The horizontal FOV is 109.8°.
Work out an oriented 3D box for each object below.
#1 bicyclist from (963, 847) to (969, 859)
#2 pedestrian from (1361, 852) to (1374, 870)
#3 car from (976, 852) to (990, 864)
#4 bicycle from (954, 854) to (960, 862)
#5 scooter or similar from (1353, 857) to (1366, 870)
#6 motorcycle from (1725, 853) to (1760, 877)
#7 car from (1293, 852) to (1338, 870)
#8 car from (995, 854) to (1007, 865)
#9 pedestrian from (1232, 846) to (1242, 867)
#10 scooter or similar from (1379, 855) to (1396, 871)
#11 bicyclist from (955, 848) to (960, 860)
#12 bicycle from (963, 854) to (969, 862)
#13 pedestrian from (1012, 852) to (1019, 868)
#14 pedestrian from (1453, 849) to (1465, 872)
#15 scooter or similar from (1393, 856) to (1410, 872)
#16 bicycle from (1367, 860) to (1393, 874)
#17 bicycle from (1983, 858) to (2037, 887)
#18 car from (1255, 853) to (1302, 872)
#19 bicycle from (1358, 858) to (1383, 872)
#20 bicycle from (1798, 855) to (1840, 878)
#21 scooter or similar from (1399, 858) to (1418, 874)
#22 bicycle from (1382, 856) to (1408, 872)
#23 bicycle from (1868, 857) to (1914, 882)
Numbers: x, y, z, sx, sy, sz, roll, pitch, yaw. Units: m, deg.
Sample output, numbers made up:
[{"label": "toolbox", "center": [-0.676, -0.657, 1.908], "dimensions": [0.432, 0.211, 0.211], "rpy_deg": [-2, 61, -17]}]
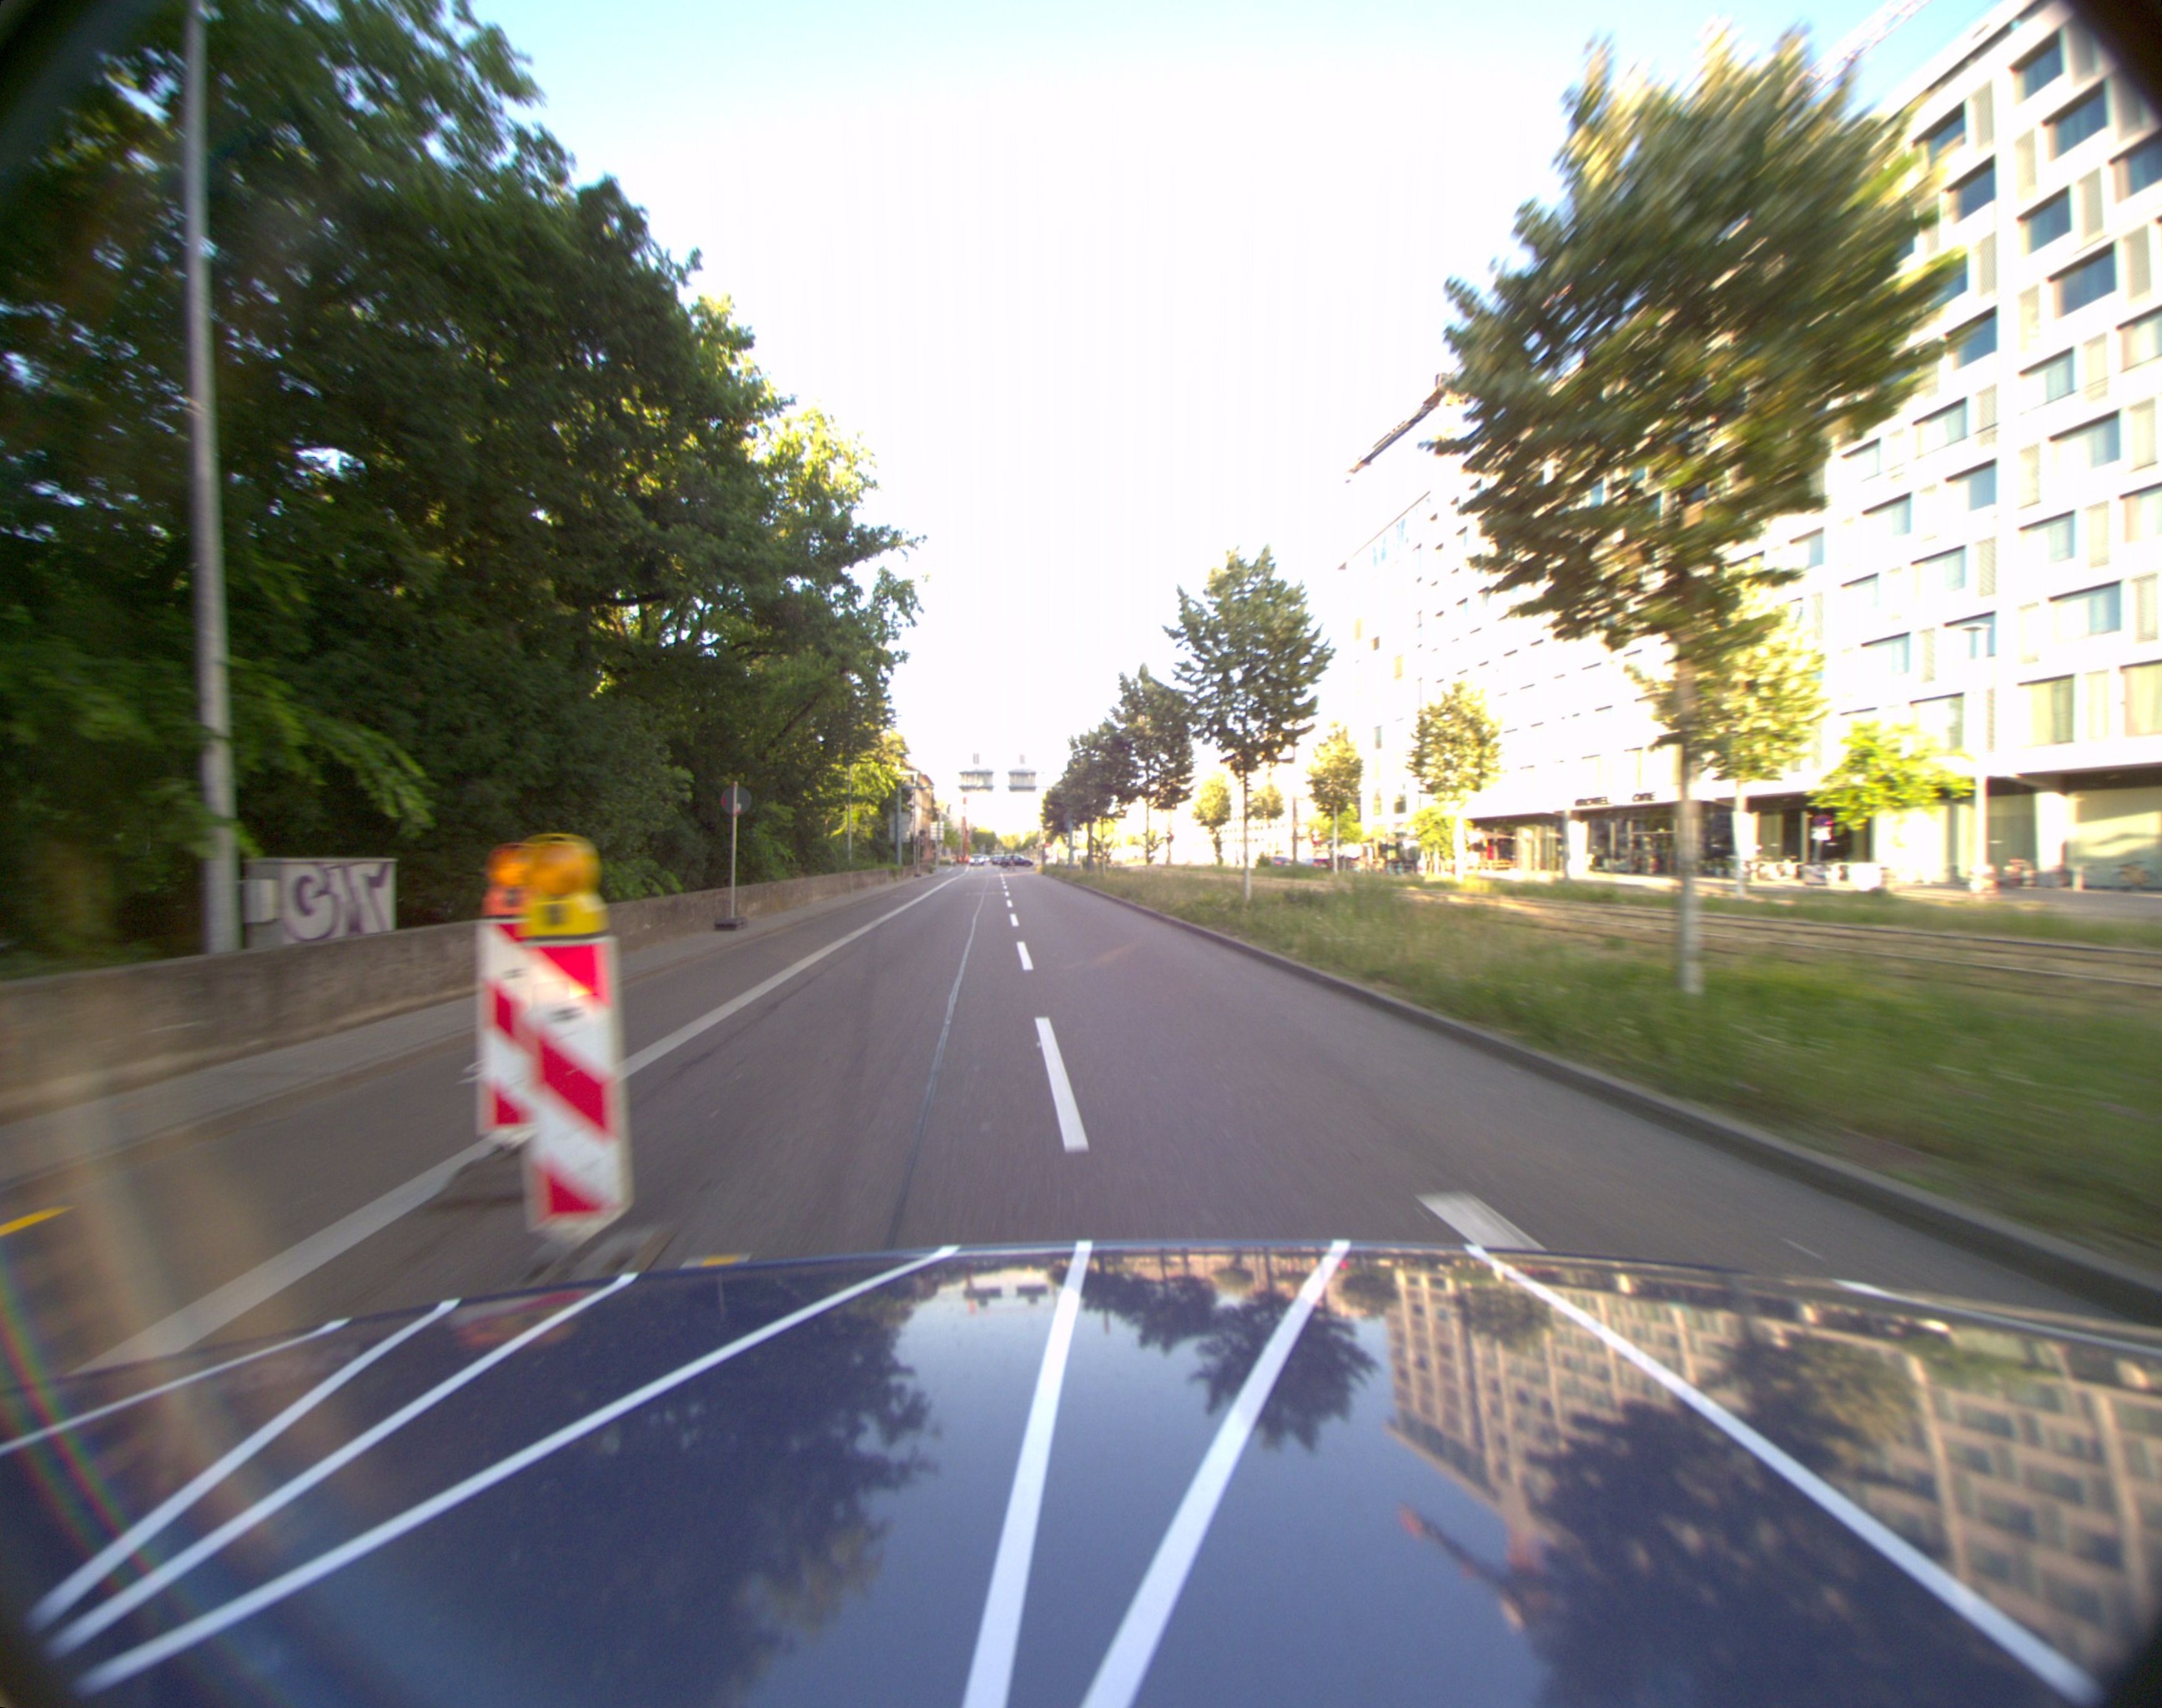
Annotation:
[{"label": "bicyclist", "center": [-16.381, -0.086, 108.336], "dimensions": [0.705, 1.691, 0.768], "rpy_deg": [-2, 0, -4]}, {"label": "pedestrian", "center": [25.532, 0.633, 67.711], "dimensions": [0.682, 1.594, 0.707], "rpy_deg": [-3, 1, -34]}, {"label": "car", "center": [-14.234, 0.579, 110.708], "dimensions": [1.834, 1.588, 4.258], "rpy_deg": [-1, 0, -5]}, {"label": "bicycle", "center": [-17.580, 0.578, 108.011], "dimensions": [0.529, 1.045, 2.047], "rpy_deg": [2, 1, -3]}, {"label": "scooter or similar", "center": [23.668, 0.810, 64.469], "dimensions": [0.975, 1.079, 0.337], "rpy_deg": [-3, 4, -5]}, {"label": "motorcycle", "center": [33.303, 0.557, 38.236], "dimensions": [1.900, 1.165, 0.515], "rpy_deg": [-1, 1, -21]}, {"label": "car", "center": [18.672, 0.538, 60.688], "dimensions": [1.891, 1.431, 4.221], "rpy_deg": [0, 0, -7]}, {"label": "car", "center": [-11.760, 0.800, 111.653], "dimensions": [1.703, 1.588, 4.258], "rpy_deg": [-1, 0, -5]}, {"label": "pedestrian", "center": [14.767, 0.251, 71.937], "dimensions": [0.680, 1.913, 0.708], "rpy_deg": [-3, 1, -4]}, {"label": "scooter or similar", "center": [23.906, 0.715, 59.313], "dimensions": [1.185, 1.210, 0.338], "rpy_deg": [0, 1, -5]}, {"label": "bicyclist", "center": [-17.570, -0.035, 108.123], "dimensions": [0.510, 1.691, 0.767], "rpy_deg": [2, 2, -3]}, {"label": "bicycle", "center": [-16.342, 0.553, 108.169], "dimensions": [0.721, 1.045, 2.042], "rpy_deg": [-2, 2, -4]}, {"label": "pedestrian", "center": [-6.191, 0.579, 71.632], "dimensions": [0.580, 1.495, 0.619], "rpy_deg": [0, 1, 3]}, {"label": "pedestrian", "center": [26.704, 0.442, 53.657], "dimensions": [0.498, 1.591, 0.603], "rpy_deg": [-3, 1, -5]}, {"label": "scooter or similar", "center": [24.150, 0.760, 57.260], "dimensions": [1.185, 1.157, 0.338], "rpy_deg": [0, 1, -5]}, {"label": "bicycle", "center": [23.810, 1.009, 60.498], "dimensions": [1.915, 1.053, 0.442], "rpy_deg": [-2, 1, -9]}, {"label": "bicycle", "center": [33.941, 0.660, 27.763], "dimensions": [1.793, 1.014, 0.421], "rpy_deg": [-1, 1, -10]}, {"label": "car", "center": [15.698, 0.641, 60.549], "dimensions": [2.021, 1.432, 4.798], "rpy_deg": [1, 0, -6]}, {"label": "bicycle", "center": [23.531, 0.859, 61.797], "dimensions": [1.915, 1.053, 0.442], "rpy_deg": [-2, 1, -9]}, {"label": "bicycle", "center": [33.455, 0.558, 34.454], "dimensions": [1.748, 1.014, 0.421], "rpy_deg": [-1, 1, -10]}, {"label": "scooter or similar", "center": [24.106, 0.876, 55.968], "dimensions": [1.185, 1.051, 0.338], "rpy_deg": [-5, -1, -6]}, {"label": "bicycle", "center": [24.193, 0.772, 58.547], "dimensions": [1.915, 1.192, 0.442], "rpy_deg": [-2, 1, -9]}, {"label": "bicycle", "center": [33.862, 0.631, 31.767], "dimensions": [1.793, 1.014, 0.421], "rpy_deg": [-1, 1, -10]}]
